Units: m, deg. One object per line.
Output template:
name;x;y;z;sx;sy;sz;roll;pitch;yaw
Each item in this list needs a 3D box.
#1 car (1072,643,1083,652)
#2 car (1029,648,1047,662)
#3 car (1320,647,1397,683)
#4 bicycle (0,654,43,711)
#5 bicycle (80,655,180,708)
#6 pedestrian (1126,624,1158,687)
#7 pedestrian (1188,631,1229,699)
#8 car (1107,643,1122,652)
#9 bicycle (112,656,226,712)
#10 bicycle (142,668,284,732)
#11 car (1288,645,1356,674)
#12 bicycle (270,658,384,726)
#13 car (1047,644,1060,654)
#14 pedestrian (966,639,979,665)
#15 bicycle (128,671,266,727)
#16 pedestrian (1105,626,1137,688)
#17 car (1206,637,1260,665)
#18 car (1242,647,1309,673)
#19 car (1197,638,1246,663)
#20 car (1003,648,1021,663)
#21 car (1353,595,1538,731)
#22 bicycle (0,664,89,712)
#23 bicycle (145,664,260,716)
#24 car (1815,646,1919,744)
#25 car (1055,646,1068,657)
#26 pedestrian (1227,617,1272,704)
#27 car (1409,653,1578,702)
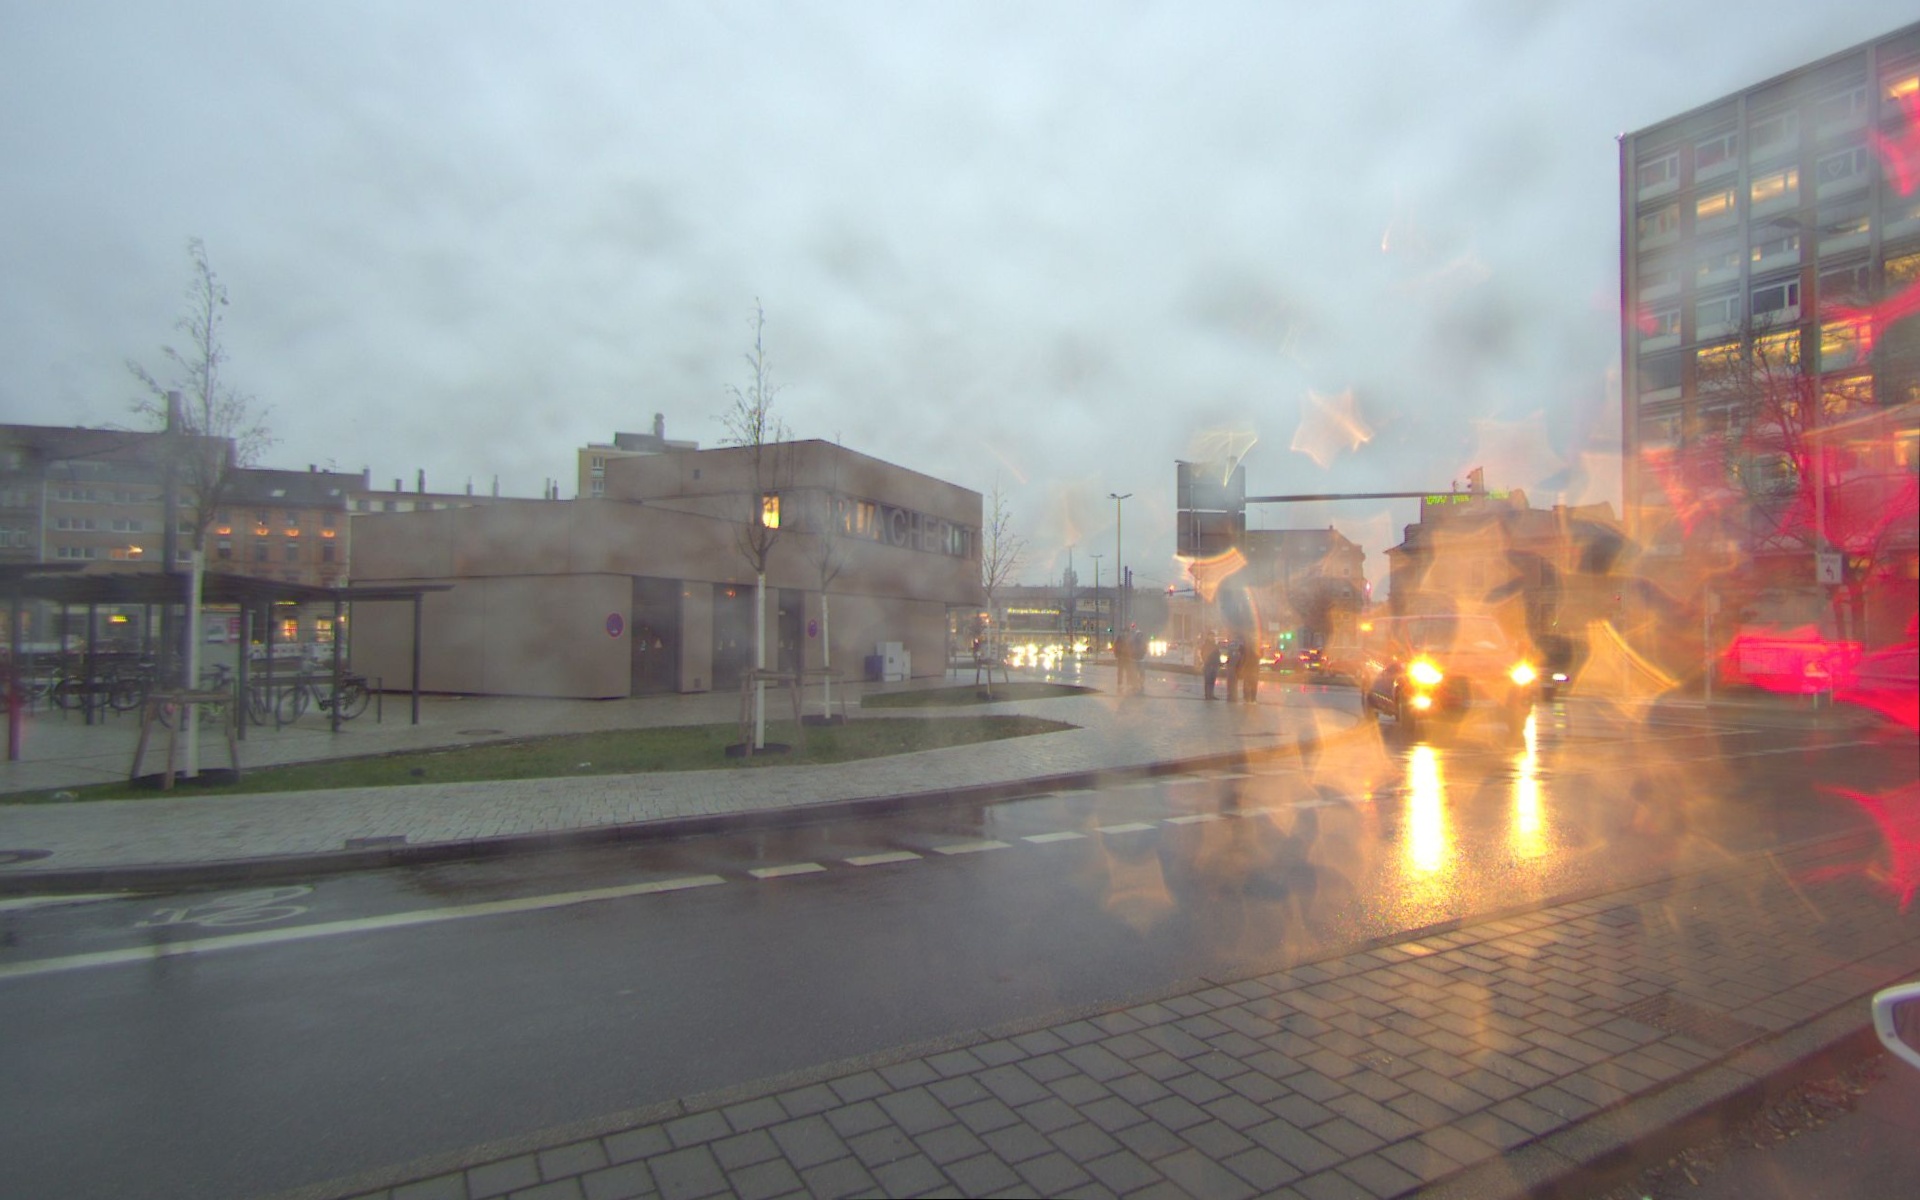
car;18.804;7.618;160.989;1.704;1.529;4.003;-1;-2;7
car;8.569;6.094;110.972;1.775;1.496;4.595;1;-3;2
car;20.497;3.317;51.821;1.795;1.589;3.991;2;0;-11
bicycle;-19.395;1.638;19.845;0.466;1.122;1.797;1;-2;29
bicycle;-17.688;1.715;21.439;0.511;1.050;1.573;1;-2;19
pedestrian;5.428;1.642;29.980;0.723;1.863;0.674;0;-2;-16
pedestrian;6.587;1.711;26.632;0.838;1.778;0.659;0;-2;-14
car;27.737;8.558;180.245;1.705;1.529;4.000;-1;-2;20
bicycle;-16.531;1.741;21.045;0.466;1.087;1.830;1;-2;26
bicycle;-12.937;1.708;17.465;0.466;0.989;1.923;1;-2;29
car;20.903;3.415;58.081;3.364;1.481;1.515;2;0;-1
bicycle;-11.751;1.681;18.725;0.605;1.172;1.755;1;-2;20
car;14.467;7.554;154.971;1.703;1.529;4.003;-1;-2;10
pedestrian;0.991;4.027;77.794;0.741;2.040;0.753;1;-2;-31
bicycle;-13.588;1.743;17.958;0.466;0.903;1.923;1;-2;29
pedestrian;4.764;1.675;29.743;0.731;1.793;0.546;0;-2;-16
car;19.623;3.662;72.357;3.514;1.850;1.672;2;0;8
car;20.091;3.813;63.982;3.741;1.502;1.602;2;0;-1
car;19.393;3.729;74.502;3.321;1.724;1.526;2;0;8
car;5.516;5.966;107.683;1.711;1.467;3.714;-1;-2;-1
car;8.458;1.092;17.968;1.891;2.097;4.648;-1;-3;12
bicycle;-18.510;1.738;19.996;0.466;0.903;1.693;1;-2;24
bicycle;-15.181;1.783;20.180;0.466;0.968;1.767;1;-2;29
car;16.869;1.577;16.379;1.812;1.603;4.122;2;-3;-17
car;14.558;7.326;144.158;1.749;1.529;4.003;-1;-2;7
pedestrian;6.999;1.447;24.262;0.971;2.047;0.802;-1;-2;19
car;16.077;2.296;30.585;1.906;1.319;4.686;1;-3;-14
